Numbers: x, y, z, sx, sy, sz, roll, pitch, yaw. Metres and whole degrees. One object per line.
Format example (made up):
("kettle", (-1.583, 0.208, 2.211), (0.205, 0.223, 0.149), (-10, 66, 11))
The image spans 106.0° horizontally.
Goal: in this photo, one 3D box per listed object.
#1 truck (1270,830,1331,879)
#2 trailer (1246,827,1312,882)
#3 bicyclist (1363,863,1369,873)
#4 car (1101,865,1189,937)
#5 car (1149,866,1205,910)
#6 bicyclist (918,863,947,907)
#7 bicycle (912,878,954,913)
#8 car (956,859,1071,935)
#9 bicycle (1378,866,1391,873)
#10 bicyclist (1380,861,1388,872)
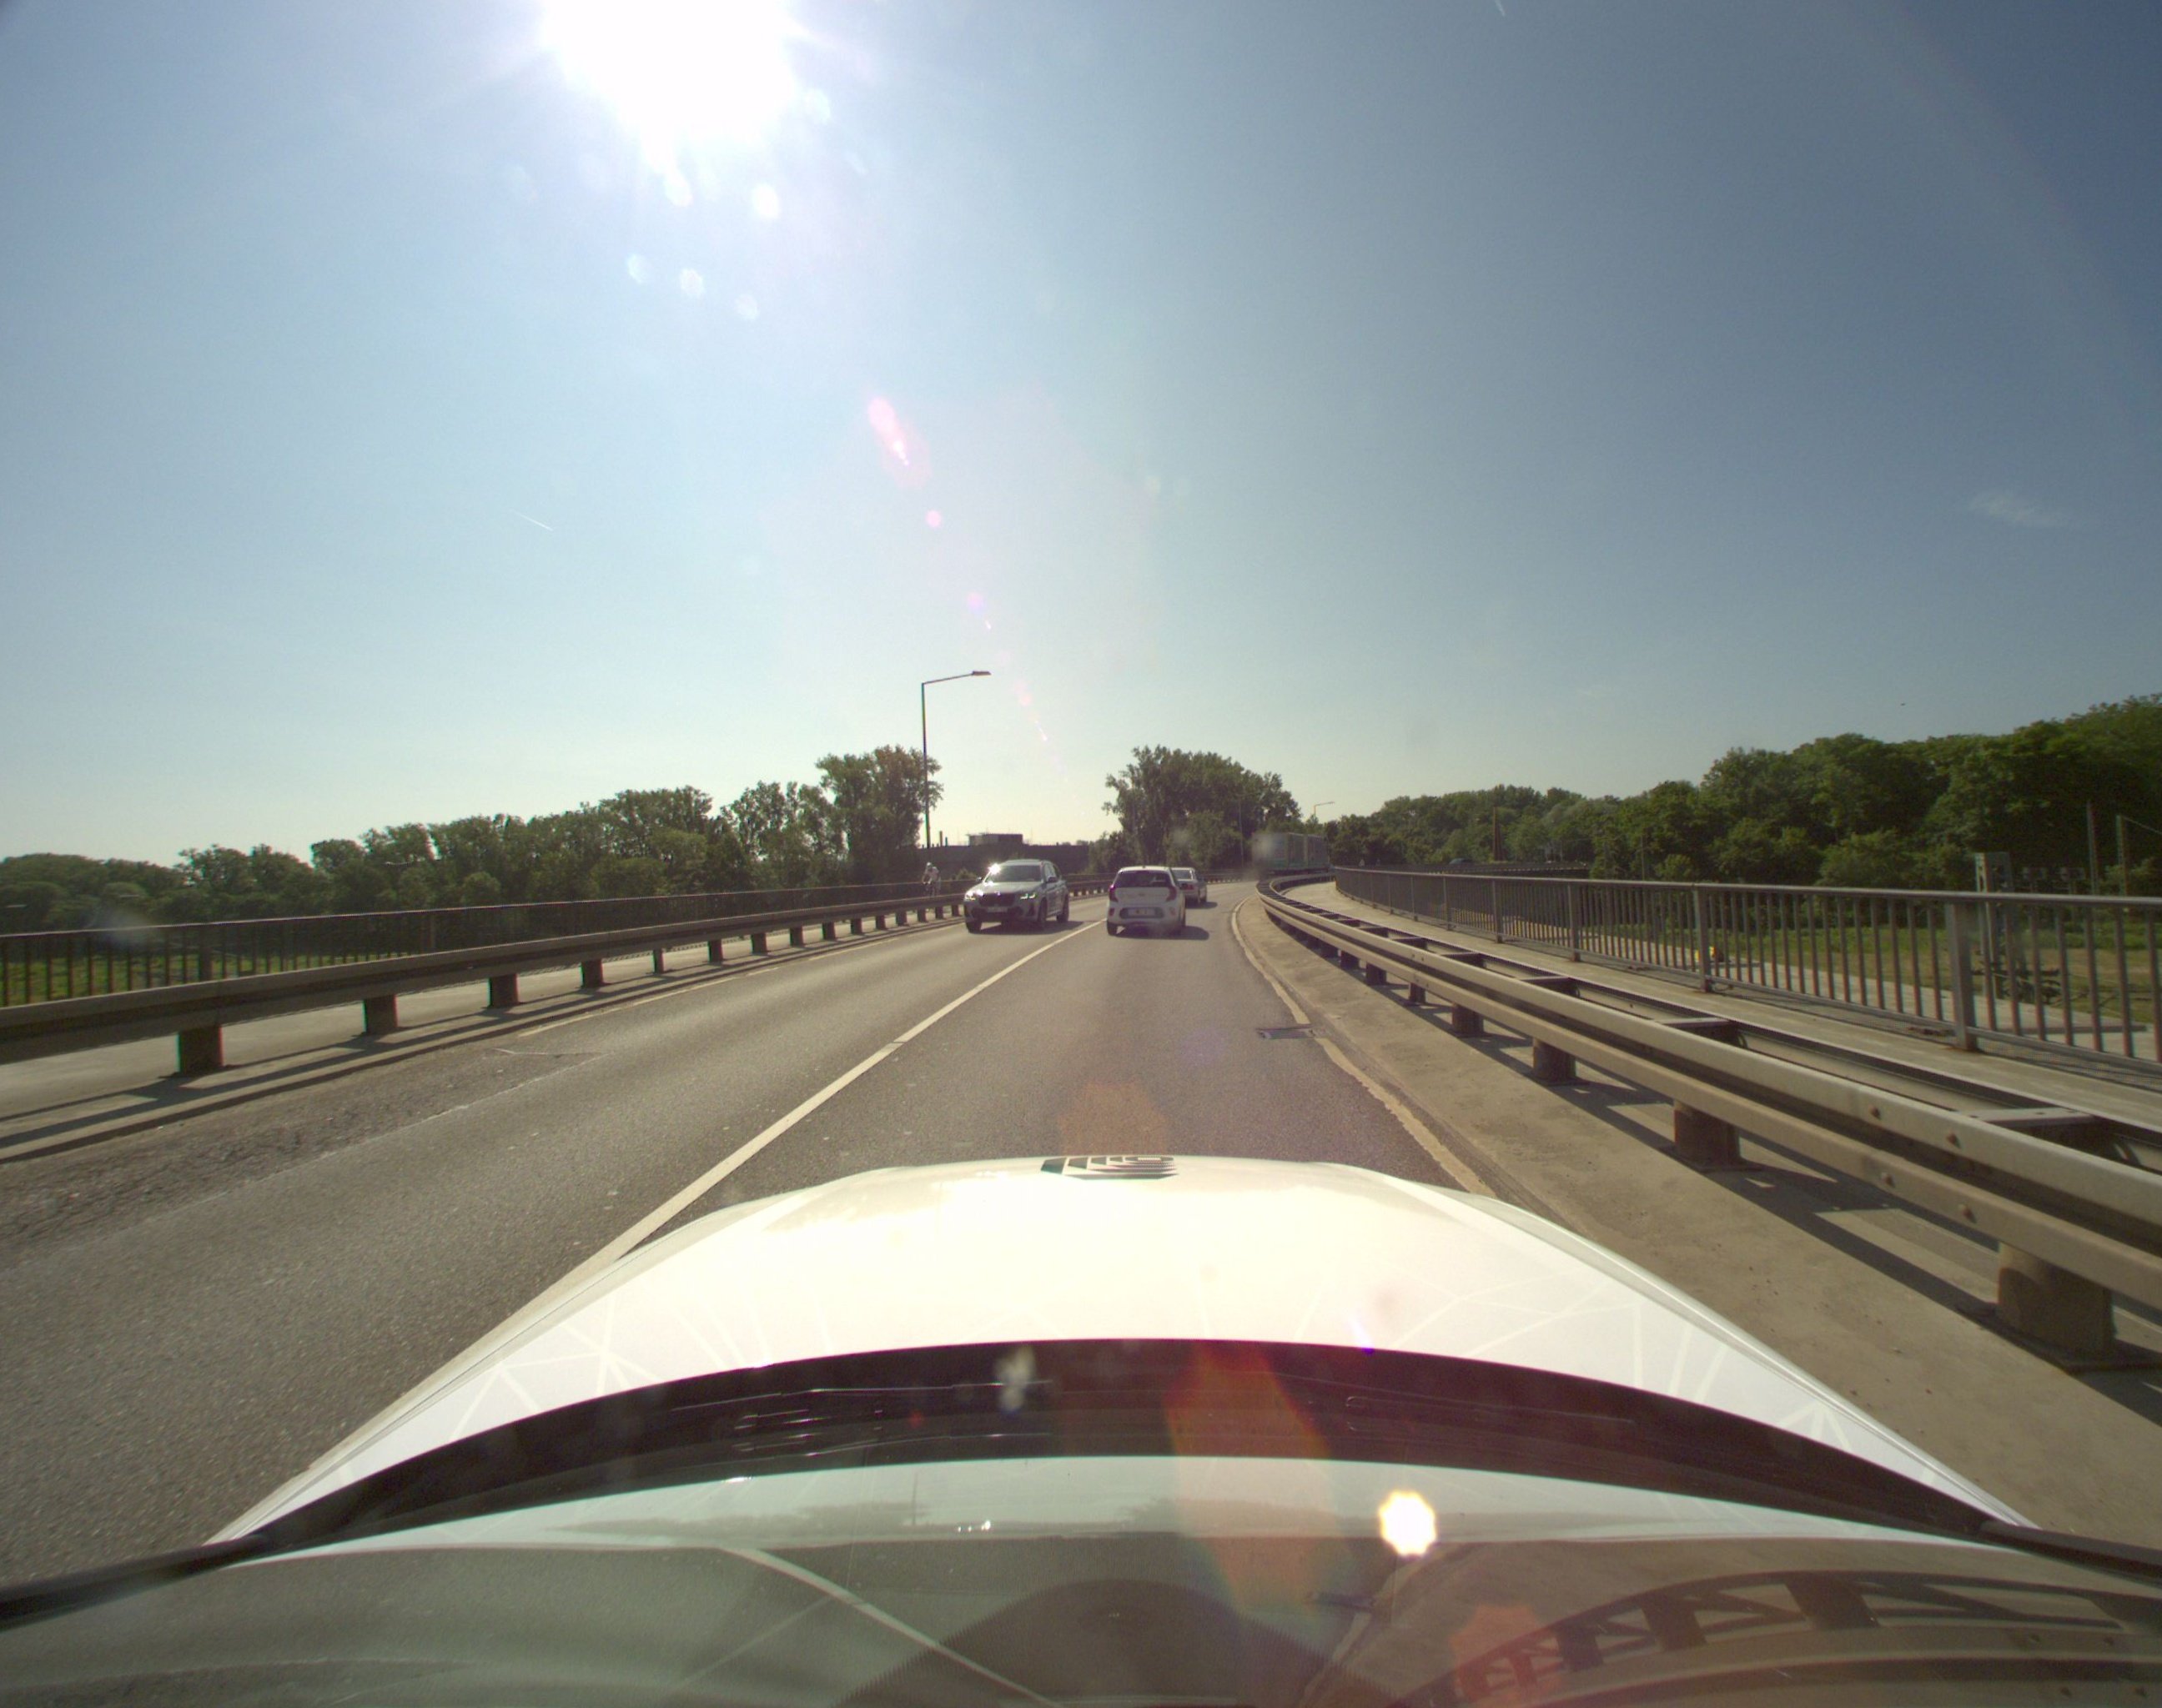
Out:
("truck", (18.172, -0.040, 66.994), (3.230, 3.758, 8.420), (1, 1, 26))
("trailer", (14.662, 0.005, 59.801), (3.195, 3.758, 7.869), (1, 1, 25))
("bicyclist", (37.283, 1.802, 106.490), (0.483, 1.329, 0.952), (-1, -2, 36))
("car", (1.611, 1.064, 19.136), (1.691, 1.494, 4.010), (0, -2, 10))
("car", (3.666, 1.211, 30.573), (1.928, 1.486, 4.910), (0, -1, 8))
("bicyclist", (-5.082, 1.068, 27.926), (0.604, 1.439, 1.081), (-3, -2, 10))
("bicycle", (-5.054, 1.411, 27.940), (0.608, 1.135, 2.155), (-4, -3, 10))
("car", (-1.552, 1.032, 20.655), (1.847, 1.682, 4.484), (0, -2, 9))
("bicycle", (40.500, 2.124, 108.615), (0.919, 0.891, 1.979), (-1, -1, 40))
("bicyclist", (40.381, 1.652, 108.535), (0.654, 1.496, 1.022), (-1, 0, 39))
